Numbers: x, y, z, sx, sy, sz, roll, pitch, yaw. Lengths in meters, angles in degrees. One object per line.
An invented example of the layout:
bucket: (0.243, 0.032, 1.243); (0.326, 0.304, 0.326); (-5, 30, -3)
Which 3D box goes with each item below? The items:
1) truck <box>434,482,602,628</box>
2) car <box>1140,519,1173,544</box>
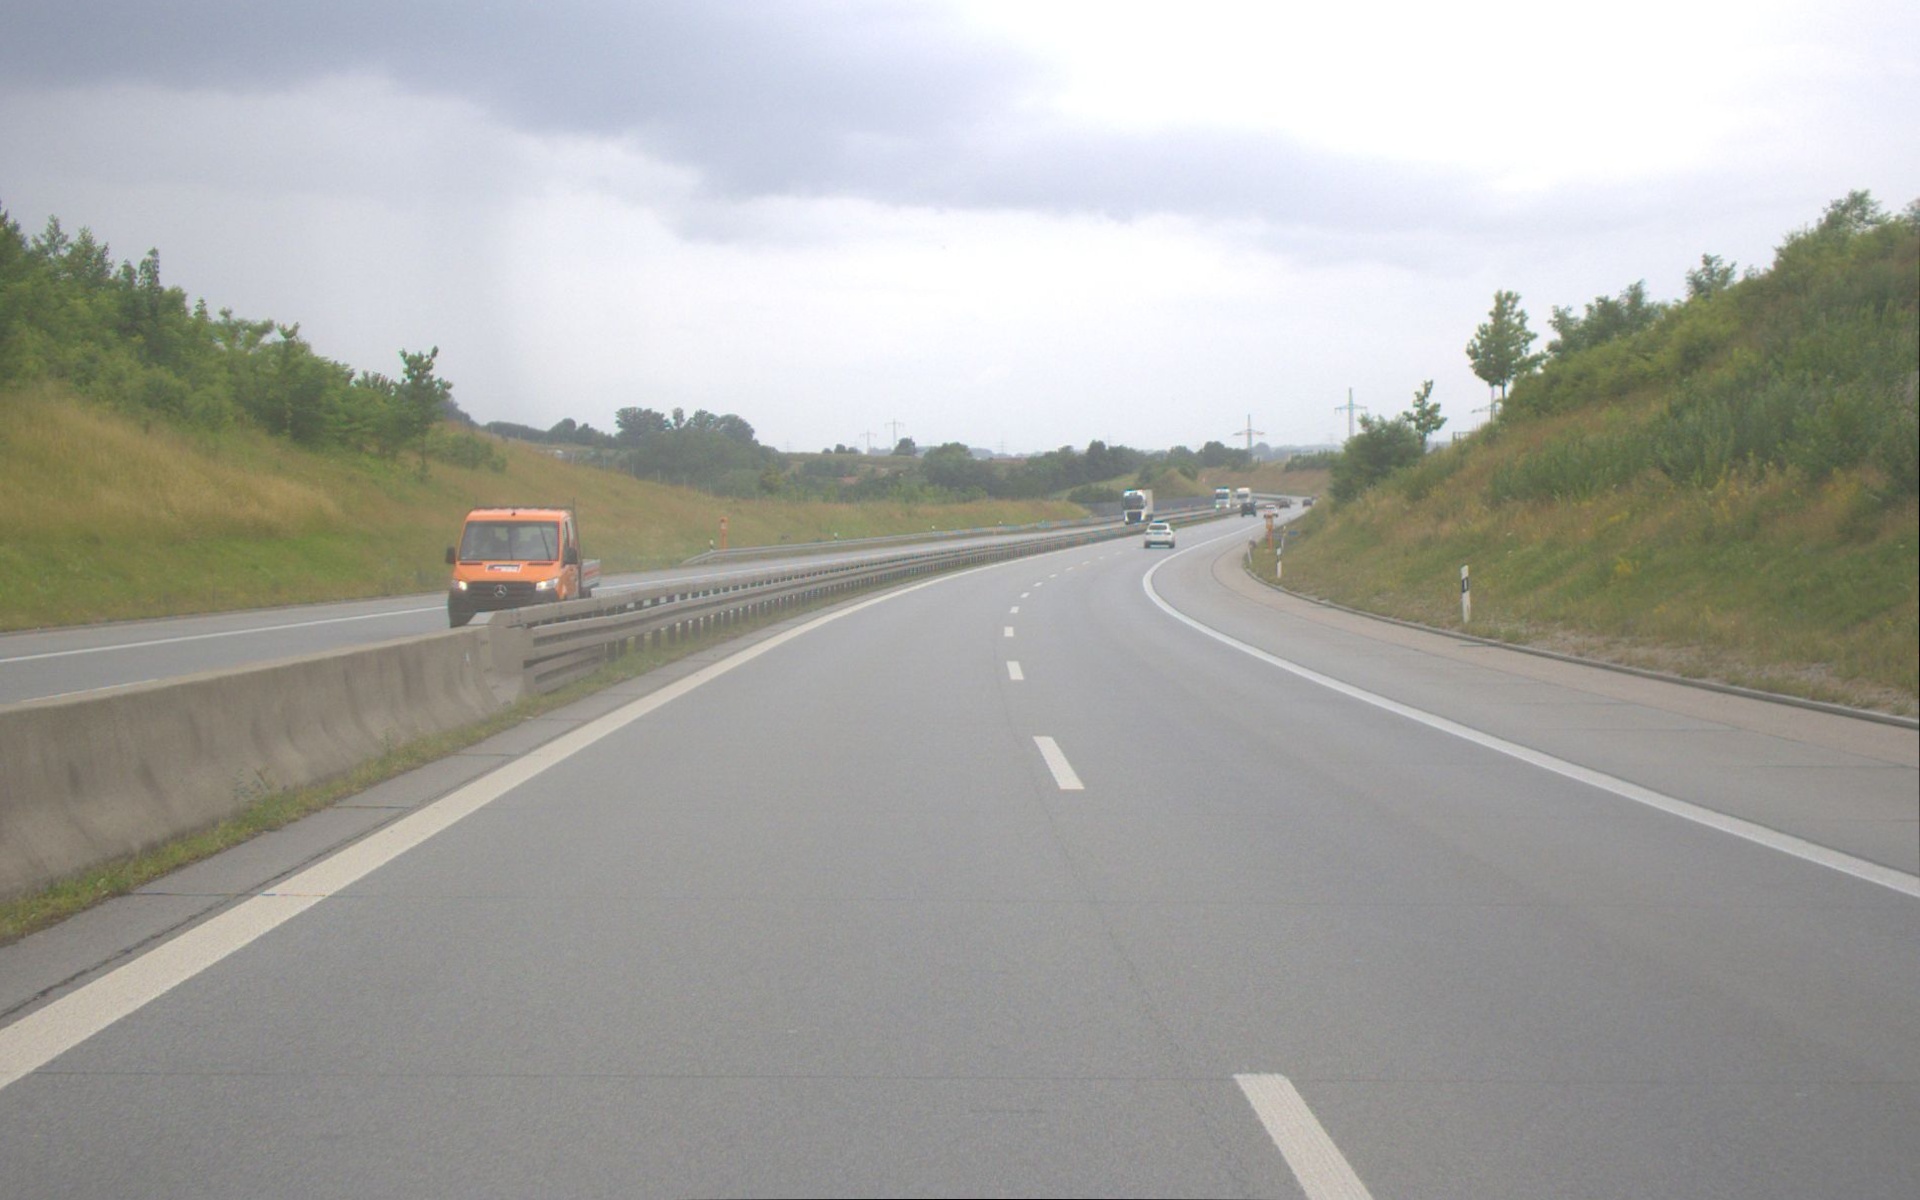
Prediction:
truck: (-7.943, -0.833, 62.454); (2.190, 2.501, 6.554); (0, 1, 0)
car: (12.801, -4.451, 223.935); (1.957, 1.645, 3.999); (0, 1, 5)
